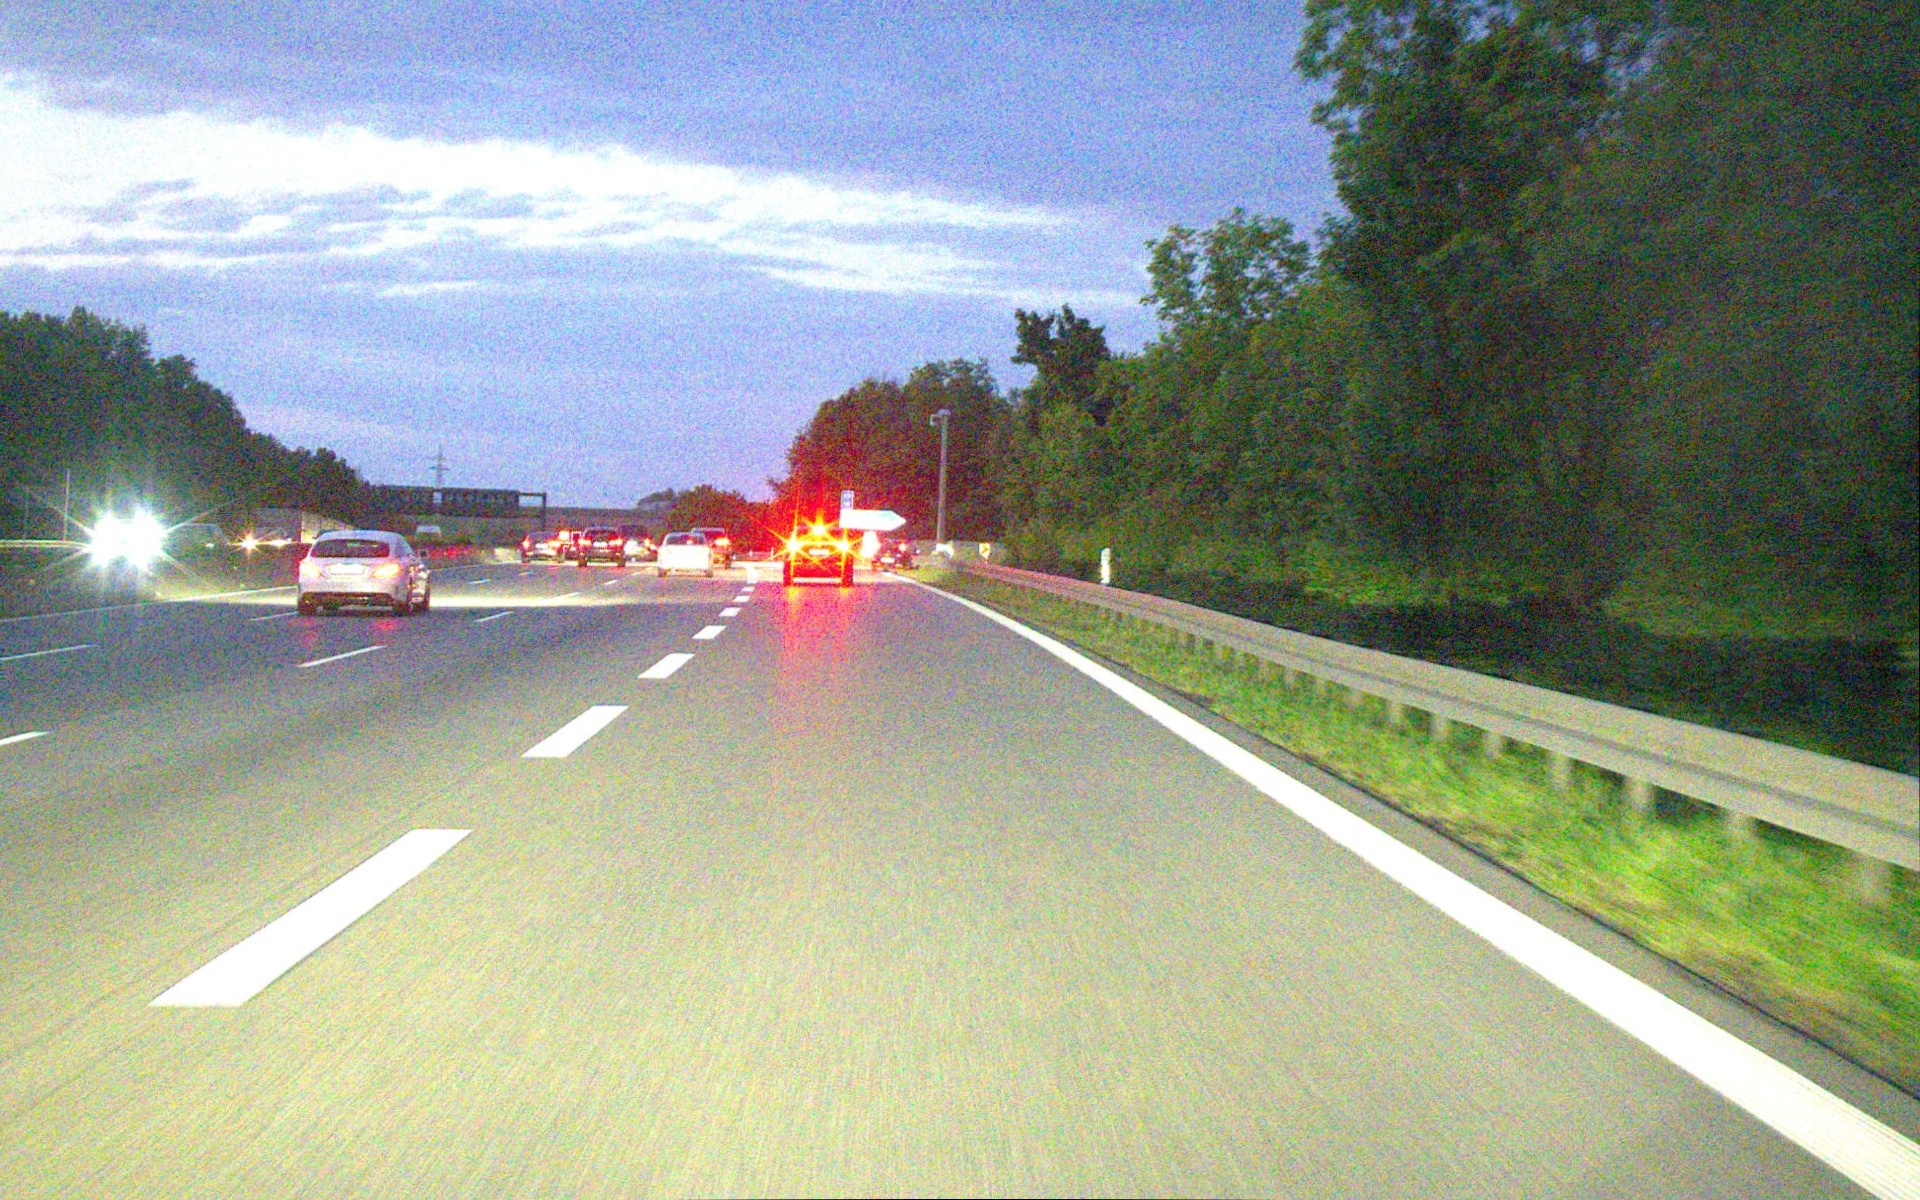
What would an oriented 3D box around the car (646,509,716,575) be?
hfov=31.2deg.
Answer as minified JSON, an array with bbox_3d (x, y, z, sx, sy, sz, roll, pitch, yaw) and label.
[{"bbox_3d":[-8.755,-1.820,108.014,1.993,2.007,4.001,1,1,-2],"label":"car"}]

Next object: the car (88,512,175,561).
[{"bbox_3d":[-28.831,-2.212,119.812,1.993,1.659,5.011,1,1,-2],"label":"car"}]

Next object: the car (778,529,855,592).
[{"bbox_3d":[-3.914,-1.095,93.058,1.993,1.653,4.315,0,1,-3],"label":"car"}]

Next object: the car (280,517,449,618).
[{"bbox_3d":[-10.111,-0.579,58.692,1.993,1.637,4.555,0,1,1],"label":"car"}]

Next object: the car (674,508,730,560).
[{"bbox_3d":[-10.148,-2.598,135.627,1.993,2.007,4.001,0,1,-1],"label":"car"}]

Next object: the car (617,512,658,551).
[{"bbox_3d":[-16.969,-3.589,180.722,1.993,2.007,4.001,1,1,-7],"label":"car"}]

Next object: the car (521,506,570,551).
[{"bbox_3d":[-18.837,-3.255,156.398,2.104,2.007,4.001,0,1,-5],"label":"car"}]

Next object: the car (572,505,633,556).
[{"bbox_3d":[-14.300,-2.790,137.650,2.071,2.007,4.000,0,1,-1],"label":"car"}]
